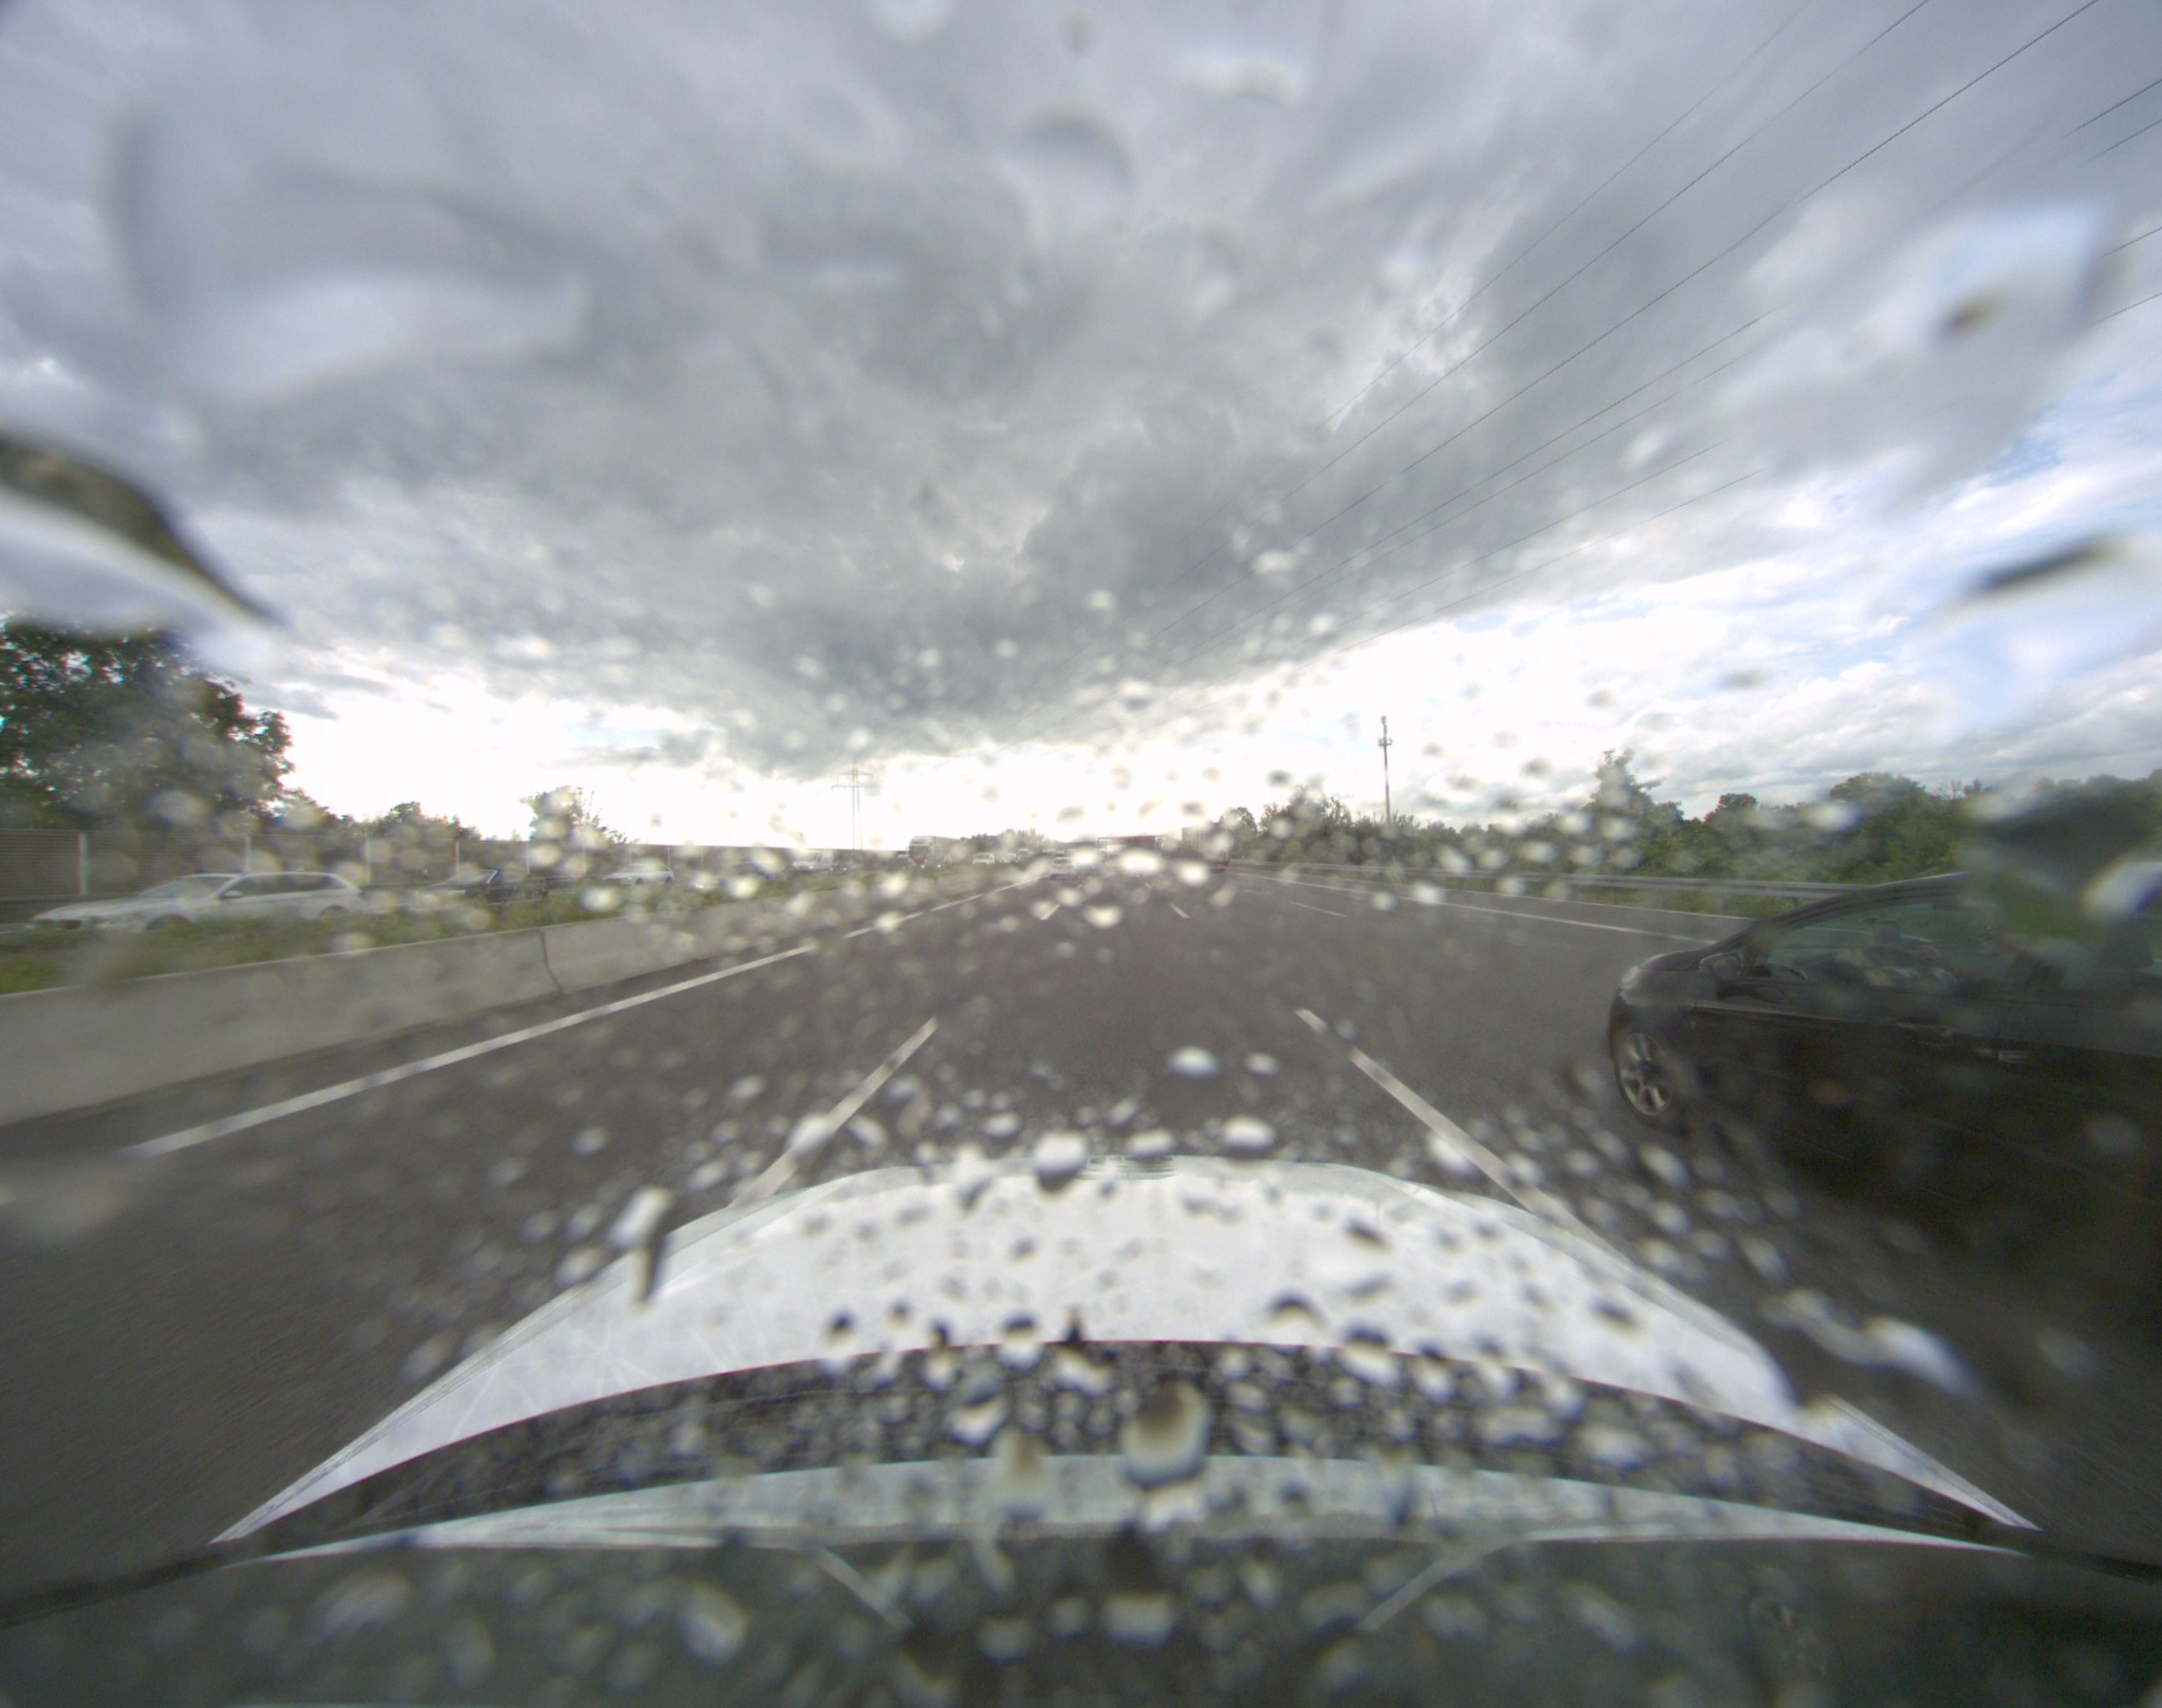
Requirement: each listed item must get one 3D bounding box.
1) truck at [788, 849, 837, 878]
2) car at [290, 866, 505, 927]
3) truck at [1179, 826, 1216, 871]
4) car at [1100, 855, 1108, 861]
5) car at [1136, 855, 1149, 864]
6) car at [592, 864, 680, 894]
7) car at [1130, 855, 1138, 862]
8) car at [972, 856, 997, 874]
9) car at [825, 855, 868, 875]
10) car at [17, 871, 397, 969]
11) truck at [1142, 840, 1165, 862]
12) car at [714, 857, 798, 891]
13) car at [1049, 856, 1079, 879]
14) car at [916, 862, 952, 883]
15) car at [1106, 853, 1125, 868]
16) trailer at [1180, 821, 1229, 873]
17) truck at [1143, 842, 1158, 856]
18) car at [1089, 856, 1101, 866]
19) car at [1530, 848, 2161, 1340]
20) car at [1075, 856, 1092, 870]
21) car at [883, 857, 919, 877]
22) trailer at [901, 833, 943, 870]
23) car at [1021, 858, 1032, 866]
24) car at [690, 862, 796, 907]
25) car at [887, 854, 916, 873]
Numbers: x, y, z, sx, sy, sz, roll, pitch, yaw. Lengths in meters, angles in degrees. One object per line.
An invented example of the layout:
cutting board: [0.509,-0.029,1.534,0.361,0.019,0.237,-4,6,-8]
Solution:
truck: [-22.706,0.789,69.186,2.108,2.417,5.798,0,0,2]
car: [-19.511,1.135,23.651,1.759,1.537,5.162,0,0,2]
truck: [10.907,-0.488,76.801,2.948,4.020,6.595,-1,0,4]
car: [5.709,1.042,198.077,1.765,1.441,4.059,-1,0,3]
car: [9.642,0.877,127.850,1.828,1.441,4.059,-1,0,3]
car: [-23.861,1.291,43.941,1.759,1.496,5.162,0,0,2]
car: [12.076,0.957,185.398,1.828,1.441,4.059,-1,0,3]
car: [-10.515,1.203,89.099,1.915,1.899,5.162,0,0,2]
car: [-18.619,0.857,64.799,1.759,1.537,5.162,0,0,2]
car: [-16.747,1.158,16.169,1.759,1.537,5.242,0,0,2]
truck: [14.542,-0.550,164.784,4.163,4.288,12.621,0,0,3]
car: [-16.135,0.948,40.845,1.759,1.549,5.715,0,0,2]
car: [-1.091,0.888,54.169,1.765,1.441,3.876,-1,0,2]
car: [-11.259,1.403,62.651,1.759,1.537,4.485,0,0,2]
car: [3.416,0.605,80.710,1.766,1.441,4.057,-1,0,2]
trailer: [10.464,-0.525,70.411,2.948,4.020,14.133,-1,0,4]
truck: [20.570,-1.400,242.471,4.225,4.176,12.000,0,0,4]
car: [2.065,1.030,121.416,1.766,1.441,4.056,-1,0,1]
car: [3.754,0.706,3.983,1.441,1.441,3.165,-1,0,2]
car: [0.335,0.996,90.071,1.766,1.441,4.057,-1,0,2]
car: [-14.957,1.062,67.934,1.759,1.537,5.162,0,0,2]
trailer: [-17.812,-0.228,91.620,3.307,4.044,6.081,0,0,2]
car: [-10.774,1.559,160.884,1.759,1.454,4.235,0,0,2]
car: [-12.731,1.102,31.118,1.759,1.537,5.162,0,0,2]
car: [-22.138,1.172,100.758,2.108,2.194,5.800,0,0,2]
